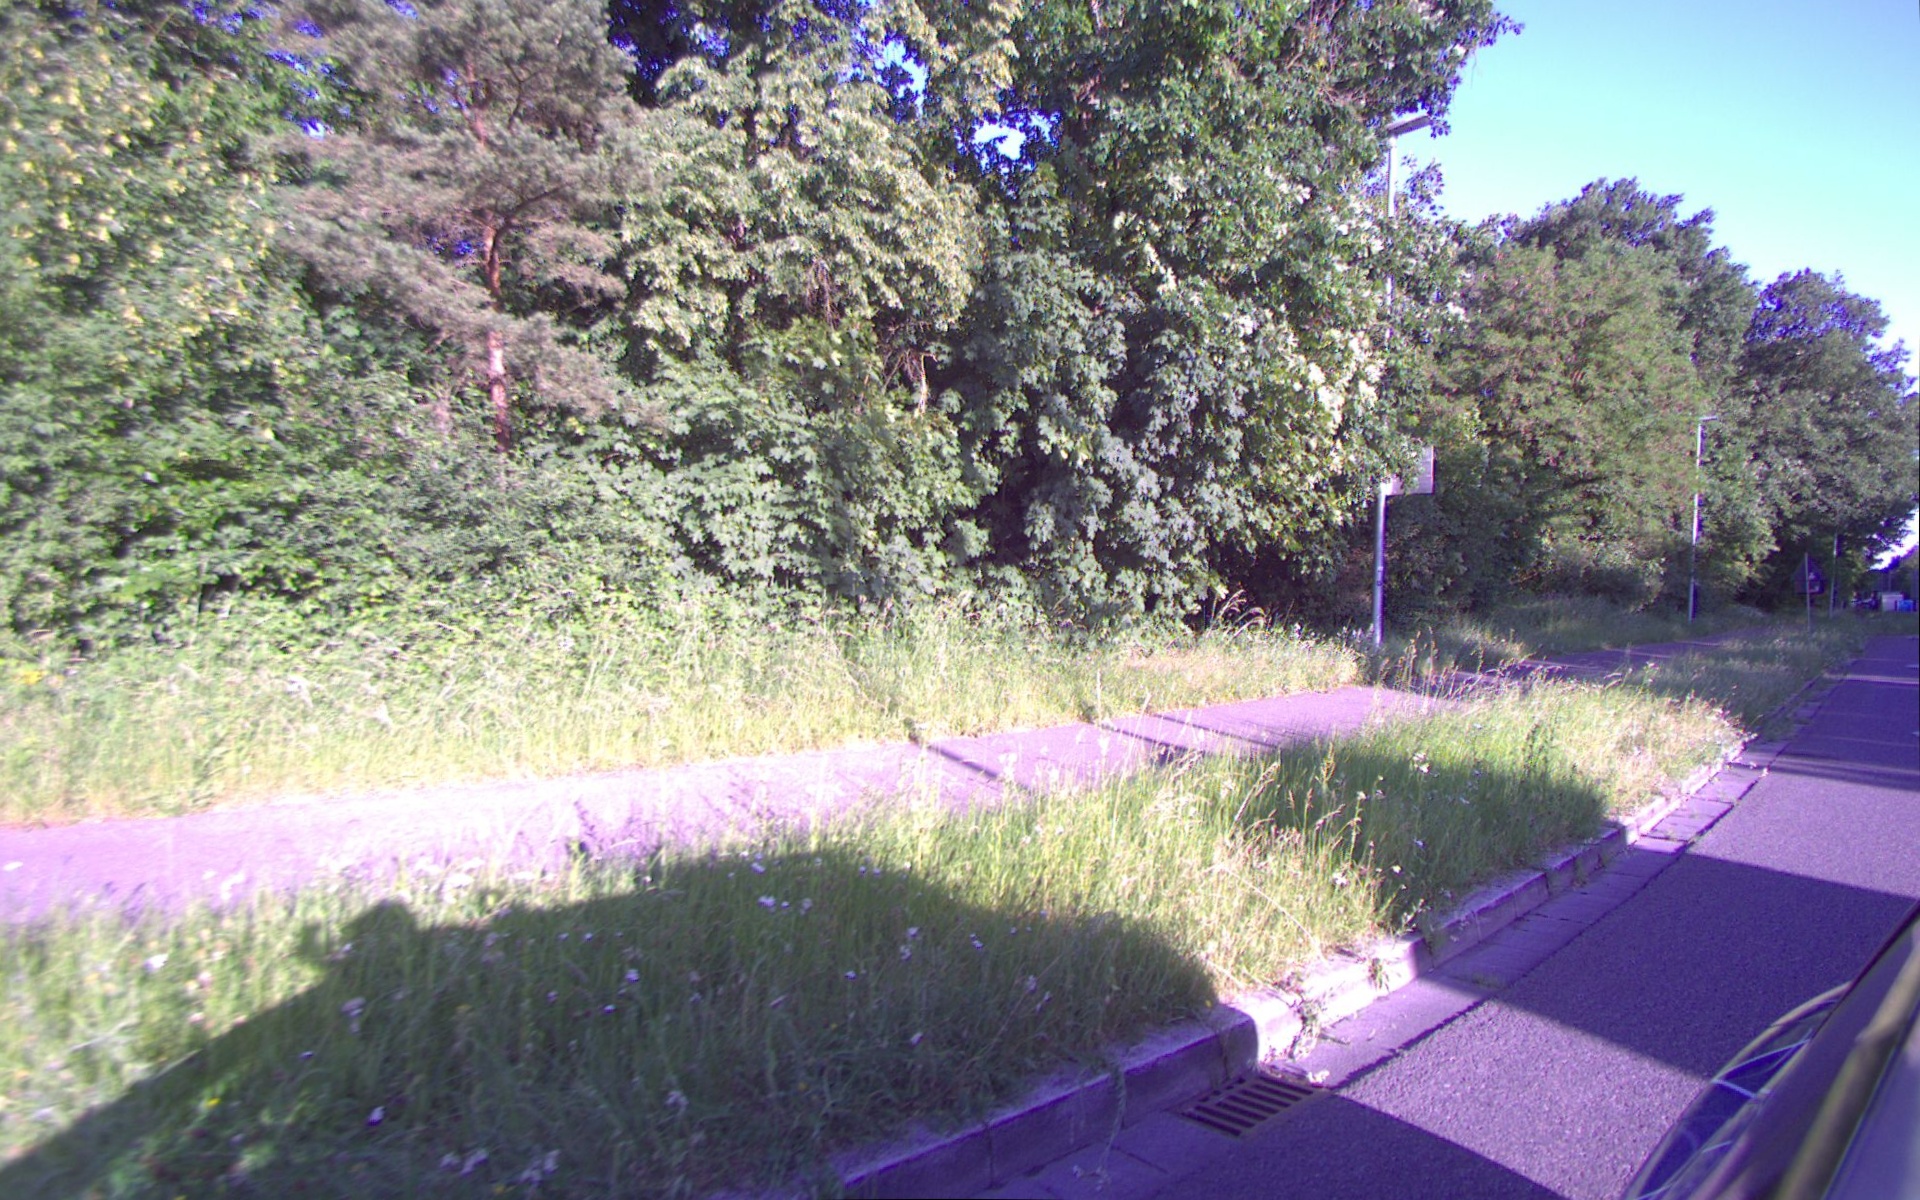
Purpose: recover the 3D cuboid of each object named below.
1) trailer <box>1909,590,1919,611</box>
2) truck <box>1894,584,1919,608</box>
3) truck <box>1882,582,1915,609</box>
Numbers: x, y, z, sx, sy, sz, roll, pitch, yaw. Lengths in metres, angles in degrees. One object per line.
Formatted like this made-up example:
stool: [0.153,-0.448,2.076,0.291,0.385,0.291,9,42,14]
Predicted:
trailer: [106.499,0.035,112.029,1.862,2.205,4.069,1,1,40]
truck: [117.709,-0.553,125.607,2.380,2.908,5.518,-1,0,40]
truck: [123.841,-0.628,133.618,2.696,3.276,7.026,4,3,40]
